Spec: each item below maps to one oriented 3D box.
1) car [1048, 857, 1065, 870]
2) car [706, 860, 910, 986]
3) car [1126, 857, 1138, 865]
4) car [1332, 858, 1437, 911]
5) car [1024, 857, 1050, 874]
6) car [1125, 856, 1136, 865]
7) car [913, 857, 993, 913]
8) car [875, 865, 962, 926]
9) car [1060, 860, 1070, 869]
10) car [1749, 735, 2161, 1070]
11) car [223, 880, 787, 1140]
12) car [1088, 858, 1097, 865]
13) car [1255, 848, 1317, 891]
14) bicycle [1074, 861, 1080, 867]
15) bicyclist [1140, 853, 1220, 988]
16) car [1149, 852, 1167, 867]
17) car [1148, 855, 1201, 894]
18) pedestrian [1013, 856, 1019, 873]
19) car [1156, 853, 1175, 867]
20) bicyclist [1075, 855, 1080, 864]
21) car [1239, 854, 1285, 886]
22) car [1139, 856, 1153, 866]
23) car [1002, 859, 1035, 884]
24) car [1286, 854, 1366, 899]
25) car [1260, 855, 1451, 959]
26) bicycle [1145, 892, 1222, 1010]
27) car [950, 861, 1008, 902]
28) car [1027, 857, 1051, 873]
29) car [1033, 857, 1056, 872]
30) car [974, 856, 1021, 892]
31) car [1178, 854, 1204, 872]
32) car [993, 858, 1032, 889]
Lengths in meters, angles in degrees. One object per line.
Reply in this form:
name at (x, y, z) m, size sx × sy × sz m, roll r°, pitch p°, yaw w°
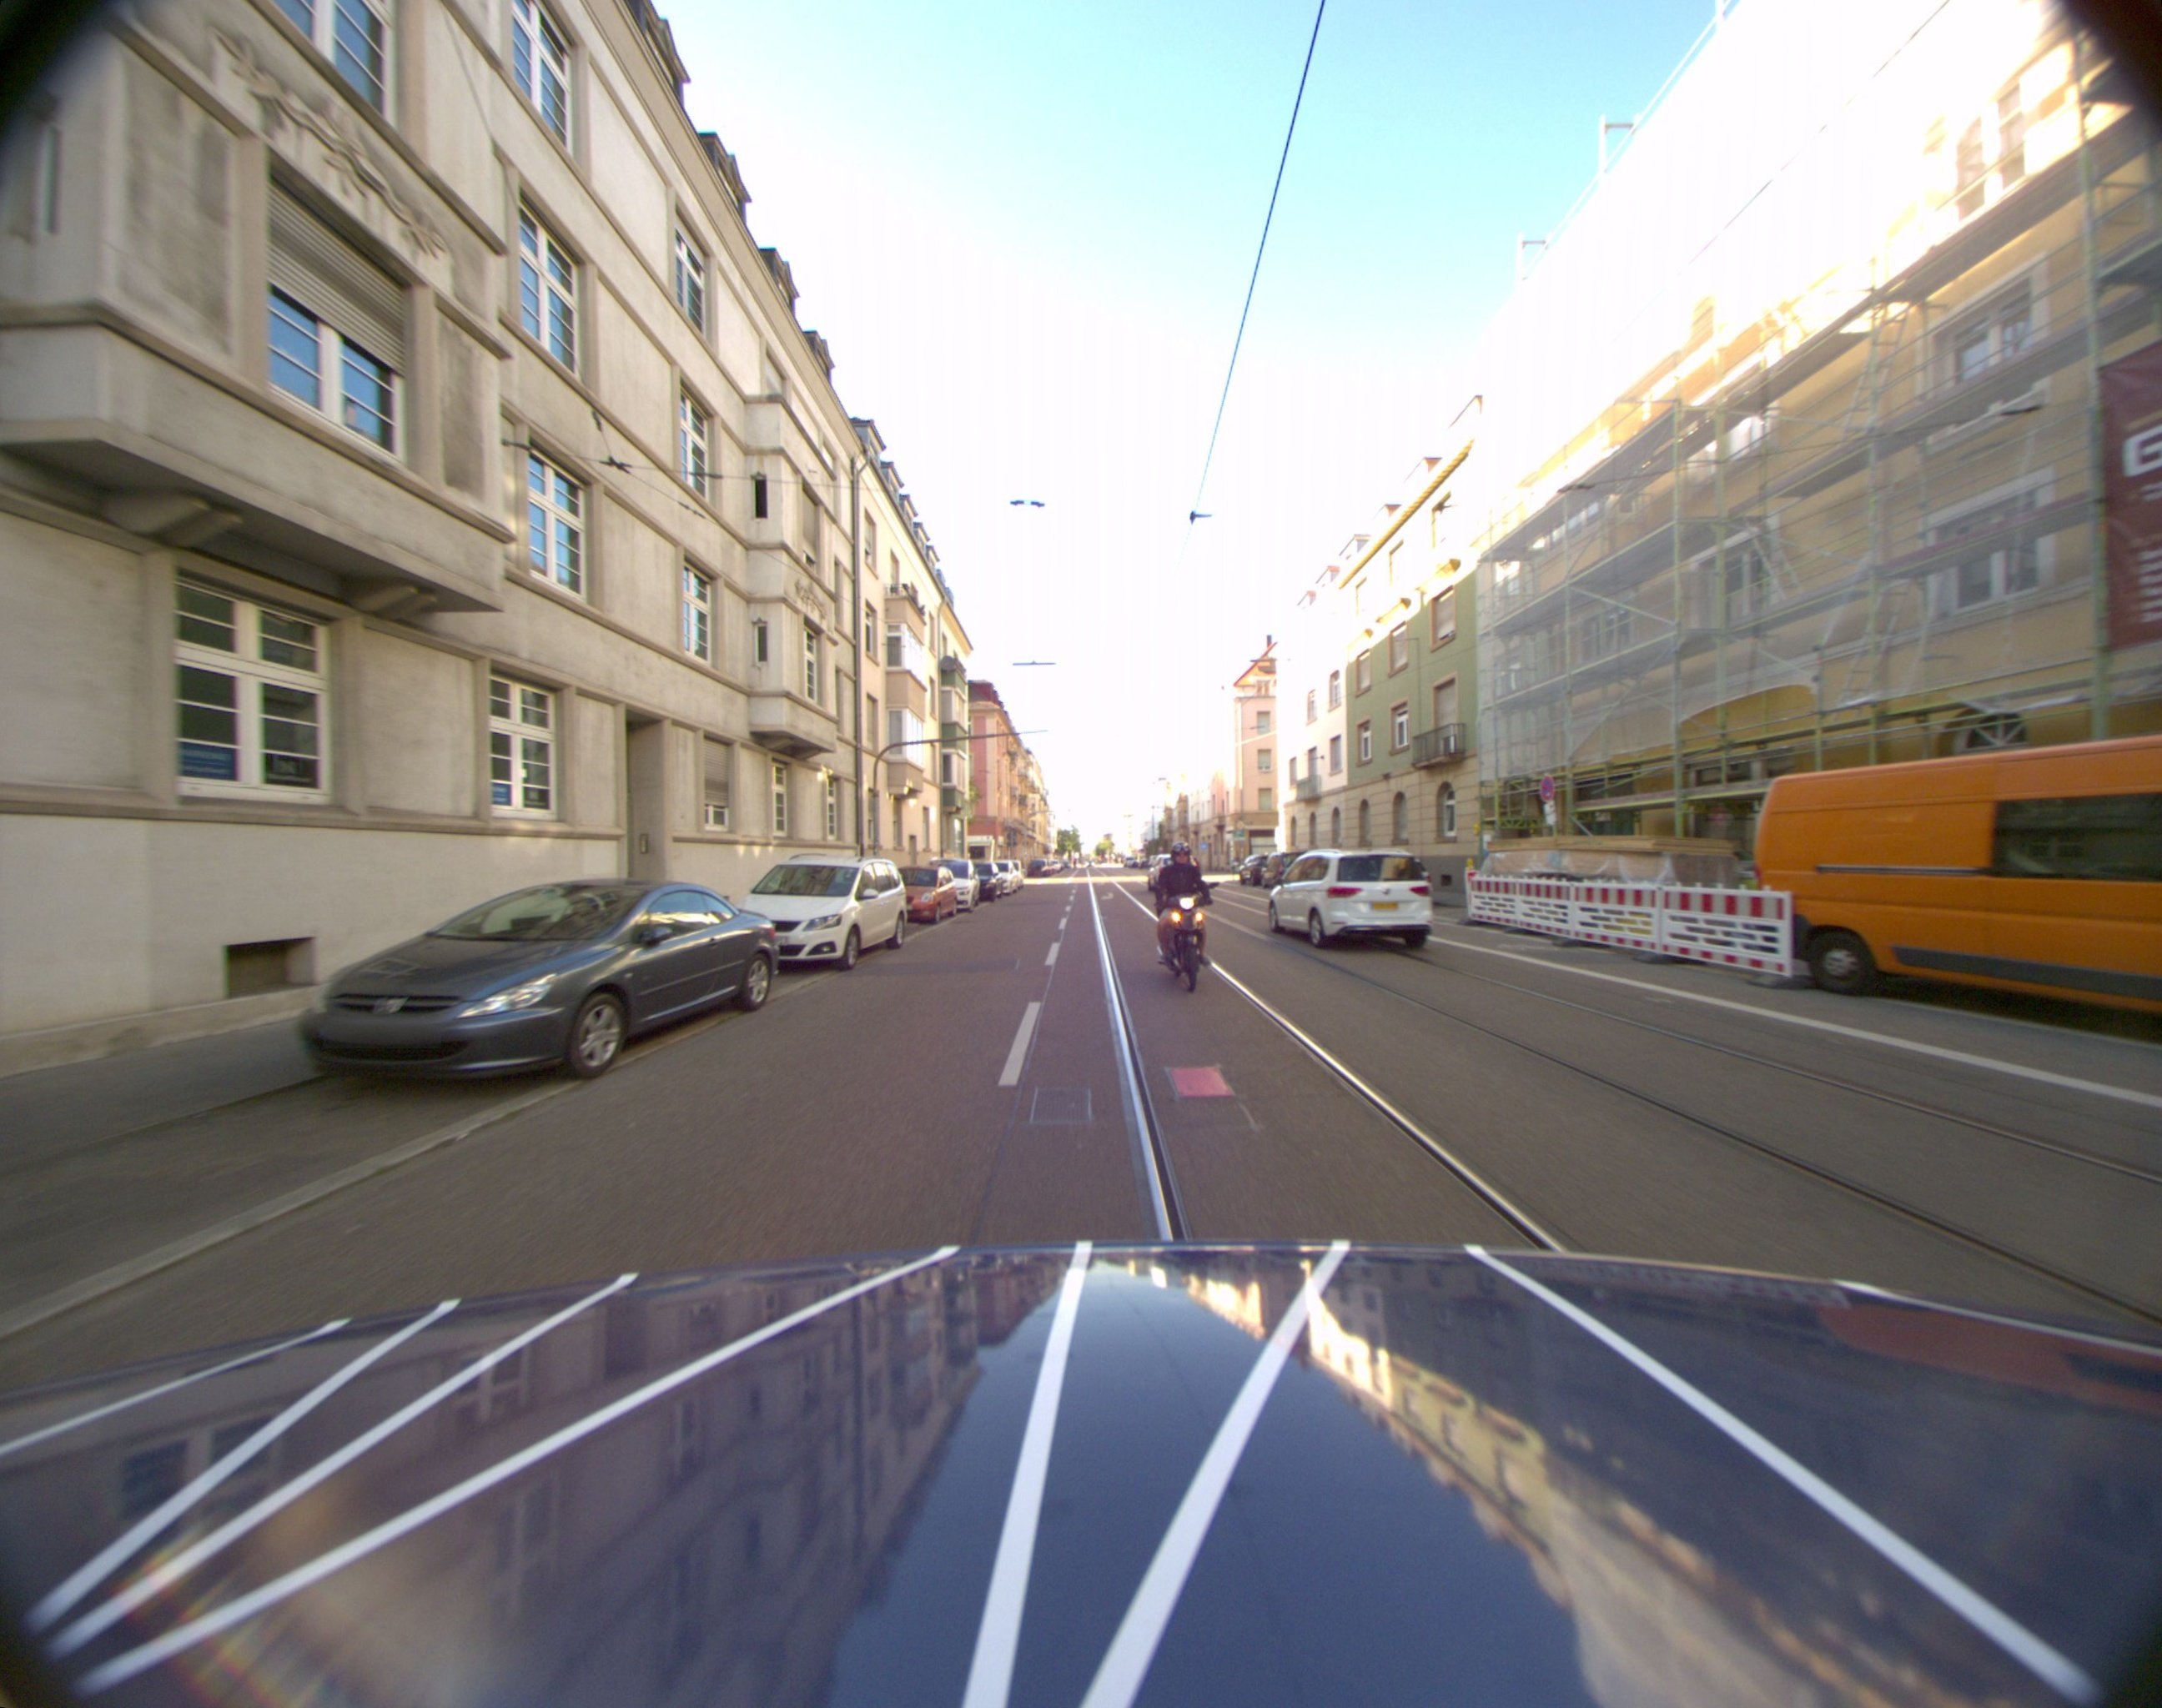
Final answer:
car at (-3.051, 1.161, 96.416) m, size 1.998 × 1.630 × 4.000 m, roll 0°, pitch 0°, yaw 1°
car at (-4.229, 0.956, 12.623) m, size 1.713 × 1.683 × 4.590 m, roll 0°, pitch 0°, yaw 0°
car at (9.703, 1.310, 144.618) m, size 1.798 × 1.494 × 3.769 m, roll -3°, pitch 0°, yaw -1°
car at (9.427, 0.900, 23.936) m, size 1.751 × 1.502 × 4.000 m, roll 0°, pitch 0°, yaw 1°
car at (-3.834, 1.017, 66.427) m, size 1.998 × 1.412 × 3.727 m, roll 0°, pitch 0°, yaw 1°
car at (9.838, 1.264, 150.311) m, size 1.798 × 1.494 × 3.769 m, roll -3°, pitch 0°, yaw -1°
car at (-4.098, 0.940, 25.014) m, size 1.702 × 1.688 × 4.188 m, roll 0°, pitch 0°, yaw 3°
car at (-4.329, 1.071, 20.685) m, size 1.570 × 1.475 × 3.365 m, roll 0°, pitch 0°, yaw 2°
car at (-3.266, 2.090, 154.023) m, size 1.998 × 1.674 × 4.000 m, roll -1°, pitch 0°, yaw 1°
car at (8.990, 0.349, 6.056) m, size 2.125 × 2.454 × 6.000 m, roll 0°, pitch 0°, yaw 1°
car at (-4.361, 1.025, 6.768) m, size 1.703 × 1.444 × 4.206 m, roll 0°, pitch 0°, yaw 2°
car at (2.704, 1.777, 173.636) m, size 1.998 × 1.586 × 4.000 m, roll -1°, pitch 0°, yaw 1°
car at (9.603, 0.684, 35.876) m, size 1.798 × 1.835 × 3.769 m, roll -3°, pitch 0°, yaw -1°
bicycle at (-0.621, 1.526, 118.241) m, size 0.744 × 0.850 × 1.886 m, roll -1°, pitch 0°, yaw 1°
bicyclist at (1.168, 0.763, 9.137) m, size 0.843 × 1.545 × 0.850 m, roll -1°, pitch 0°, yaw 1°
car at (10.346, 0.722, 101.969) m, size 1.998 × 2.002 × 4.000 m, roll 0°, pitch 0°, yaw 0°
car at (4.031, 0.827, 33.201) m, size 1.771 × 1.598 × 4.293 m, roll 0°, pitch 0°, yaw 0°
pedestrian at (-5.648, 0.942, 65.906) m, size 0.526 × 1.483 × 0.491 m, roll 0°, pitch 1°, yaw 1°
car at (10.050, 0.719, 90.426) m, size 1.798 × 1.494 × 3.769 m, roll -3°, pitch 1°, yaw 0°
bicyclist at (-0.614, 0.877, 118.186) m, size 0.744 × 1.481 × 0.816 m, roll -1°, pitch 0°, yaw 1°
car at (9.673, 0.806, 40.878) m, size 1.798 × 1.601 × 3.770 m, roll -1°, pitch 0°, yaw 3°
car at (10.216, 1.132, 120.488) m, size 1.798 × 1.494 × 3.769 m, roll -3°, pitch 0°, yaw -1°
car at (-3.928, 1.091, 48.379) m, size 1.703 × 1.465 × 3.780 m, roll 0°, pitch 0°, yaw 2°
car at (9.531, 0.839, 29.916) m, size 1.702 × 1.569 × 4.223 m, roll -3°, pitch 0°, yaw 0°
car at (4.629, 0.801, 13.535) m, size 1.825 × 1.559 × 4.200 m, roll 0°, pitch 0°, yaw -1°
bicycle at (1.188, 1.098, 9.198) m, size 0.740 × 1.170 × 1.974 m, roll -1°, pitch 0°, yaw 3°
car at (-4.050, 1.071, 30.683) m, size 1.703 × 1.496 × 3.863 m, roll -1°, pitch 0°, yaw 1°
car at (-3.879, 0.989, 70.729) m, size 1.998 × 1.412 × 3.727 m, roll 0°, pitch 0°, yaw 1°
car at (-3.640, 0.991, 75.781) m, size 1.998 × 1.455 × 4.000 m, roll 0°, pitch 0°, yaw 1°
car at (-3.863, 0.891, 35.799) m, size 1.703 × 1.581 × 3.961 m, roll -1°, pitch 0°, yaw 1°
car at (10.318, 0.822, 71.656) m, size 1.798 × 1.494 × 3.769 m, roll -3°, pitch 0°, yaw -1°
car at (-3.742, 1.043, 41.872) m, size 1.703 × 1.581 × 3.355 m, roll 0°, pitch 0°, yaw 2°
